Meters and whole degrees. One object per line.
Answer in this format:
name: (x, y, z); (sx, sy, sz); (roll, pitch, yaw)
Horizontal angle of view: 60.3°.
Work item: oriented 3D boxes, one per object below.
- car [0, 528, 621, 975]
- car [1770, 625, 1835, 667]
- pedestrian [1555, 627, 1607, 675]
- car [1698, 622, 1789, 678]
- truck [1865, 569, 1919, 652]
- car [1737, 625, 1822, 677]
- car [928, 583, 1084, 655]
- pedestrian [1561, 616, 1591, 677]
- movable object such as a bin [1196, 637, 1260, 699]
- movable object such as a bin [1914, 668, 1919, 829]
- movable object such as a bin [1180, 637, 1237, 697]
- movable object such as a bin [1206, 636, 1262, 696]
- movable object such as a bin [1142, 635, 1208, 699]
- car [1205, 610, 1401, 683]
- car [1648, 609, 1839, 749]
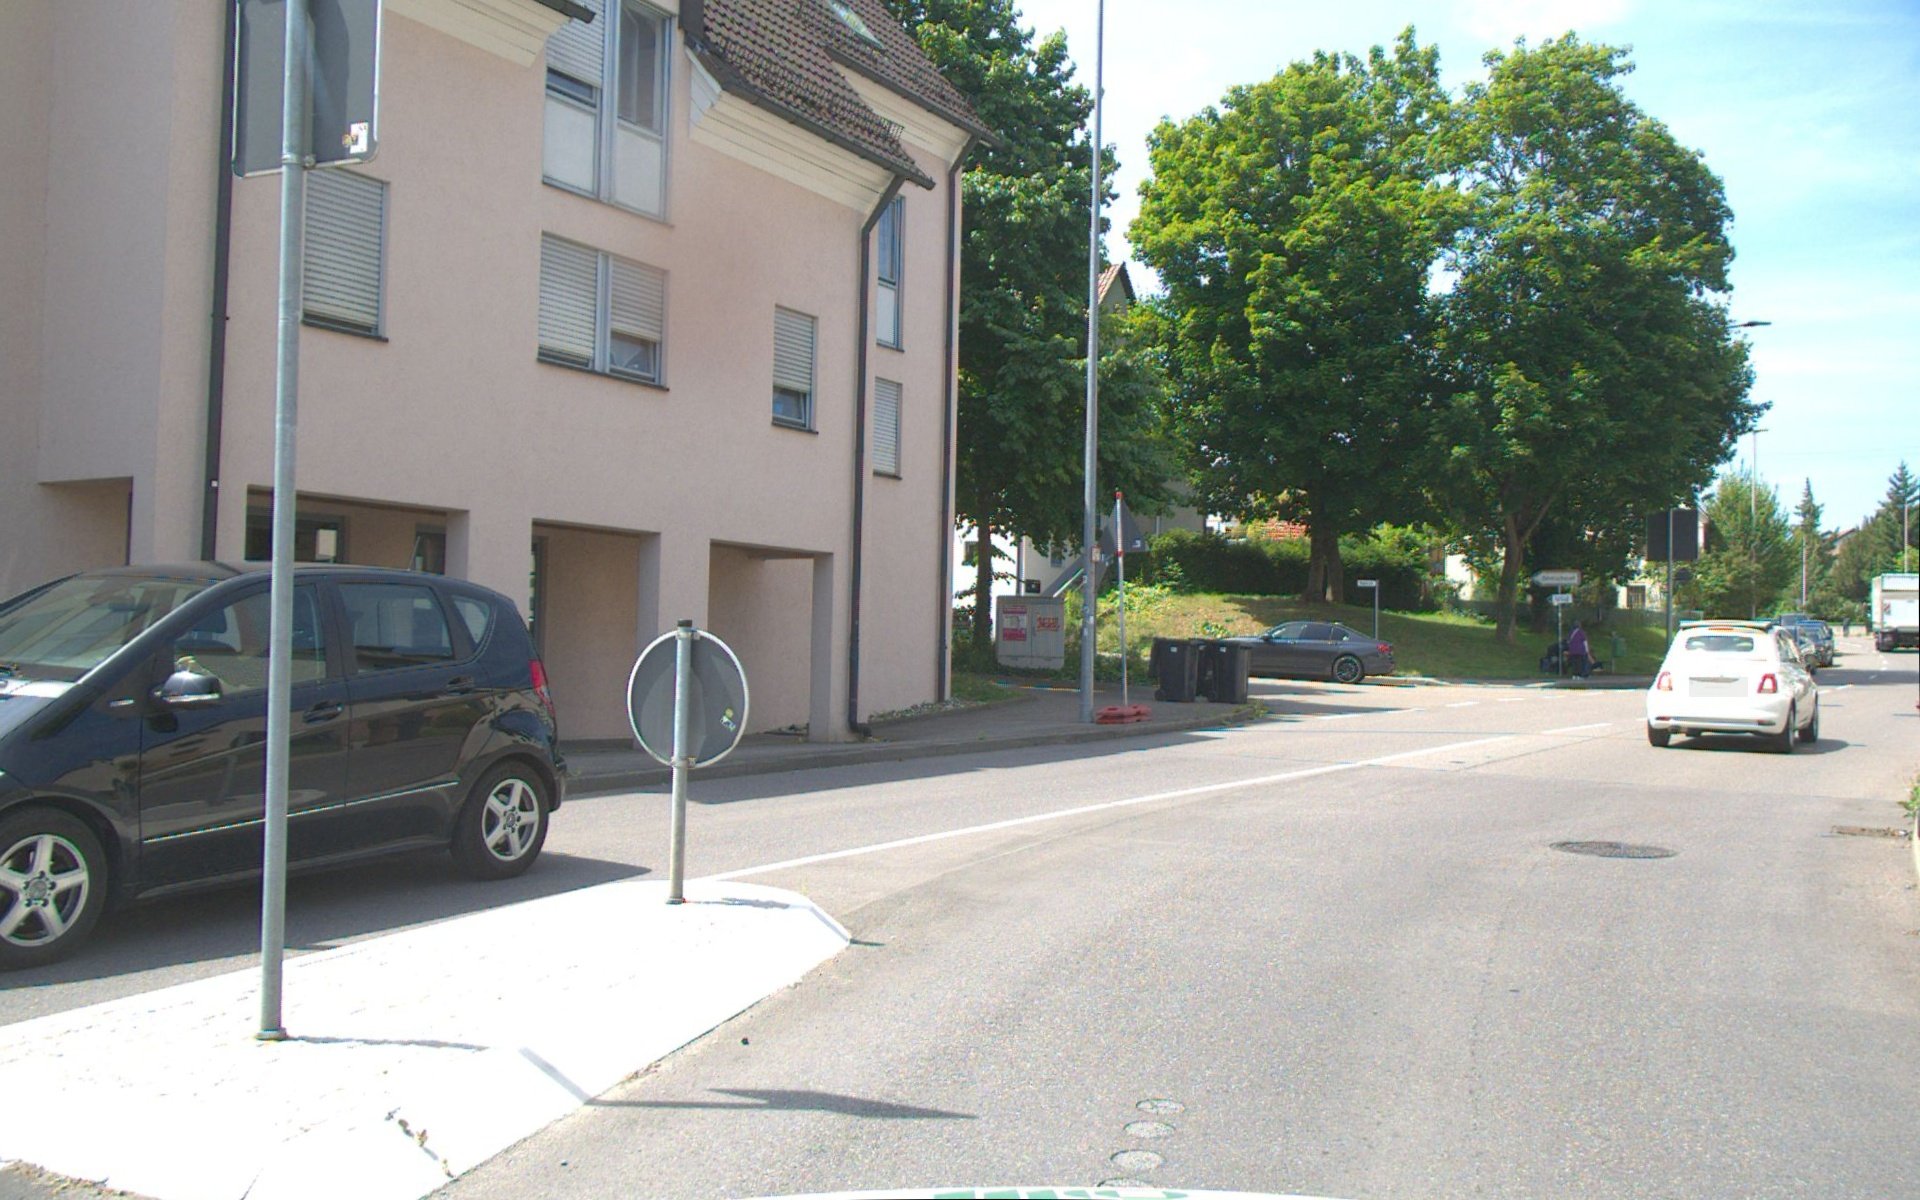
car: (-3.536, 0.566, 7.676); (1.718, 1.612, 3.939); (1, -1, 28)
car: (31.791, 1.714, 62.346); (1.771, 1.449, 4.916); (-2, -1, 31)
pedestrian: (17.472, 1.427, 46.568); (1.217, 1.291, 0.643); (1, -1, 39)
car: (22.549, 1.423, 47.530); (1.724, 1.493, 4.349); (-3, -2, 34)
truck: (46.228, 0.593, 80.859); (3.008, 3.840, 7.859); (-1, -2, 26)
car: (25.971, 1.592, 52.361); (1.742, 1.554, 4.206); (-3, -2, 35)
car: (1.243, 0.511, 45.570); (3.925, 1.713, 1.900); (4, 1, 39)
pedestrian: (16.746, 1.255, 45.004); (0.715, 1.645, 0.629); (1, -1, 18)
movable object such as a bin: (4.539, 1.146, 28.002); (0.837, 1.018, 0.691); (0, -1, 37)
movable object such as a bin: (6.448, 0.957, 10.650); (0.490, 1.011, 0.503); (0, -1, 27)
movable object such as a bin: (4.508, 1.220, 29.987); (0.759, 1.017, 0.606); (4, -1, 37)
movable object such as a bin: (5.030, 1.213, 30.412); (0.759, 1.017, 0.606); (4, -1, 38)
movable object such as a bin: (3.604, 1.116, 27.669); (0.787, 1.018, 0.801); (2, 0, 37)
car: (8.768, 1.157, 42.185); (4.675, 1.505, 2.001); (3, 0, 16)
car: (9.982, 0.937, 20.934); (1.694, 1.587, 3.988); (0, -1, 33)
